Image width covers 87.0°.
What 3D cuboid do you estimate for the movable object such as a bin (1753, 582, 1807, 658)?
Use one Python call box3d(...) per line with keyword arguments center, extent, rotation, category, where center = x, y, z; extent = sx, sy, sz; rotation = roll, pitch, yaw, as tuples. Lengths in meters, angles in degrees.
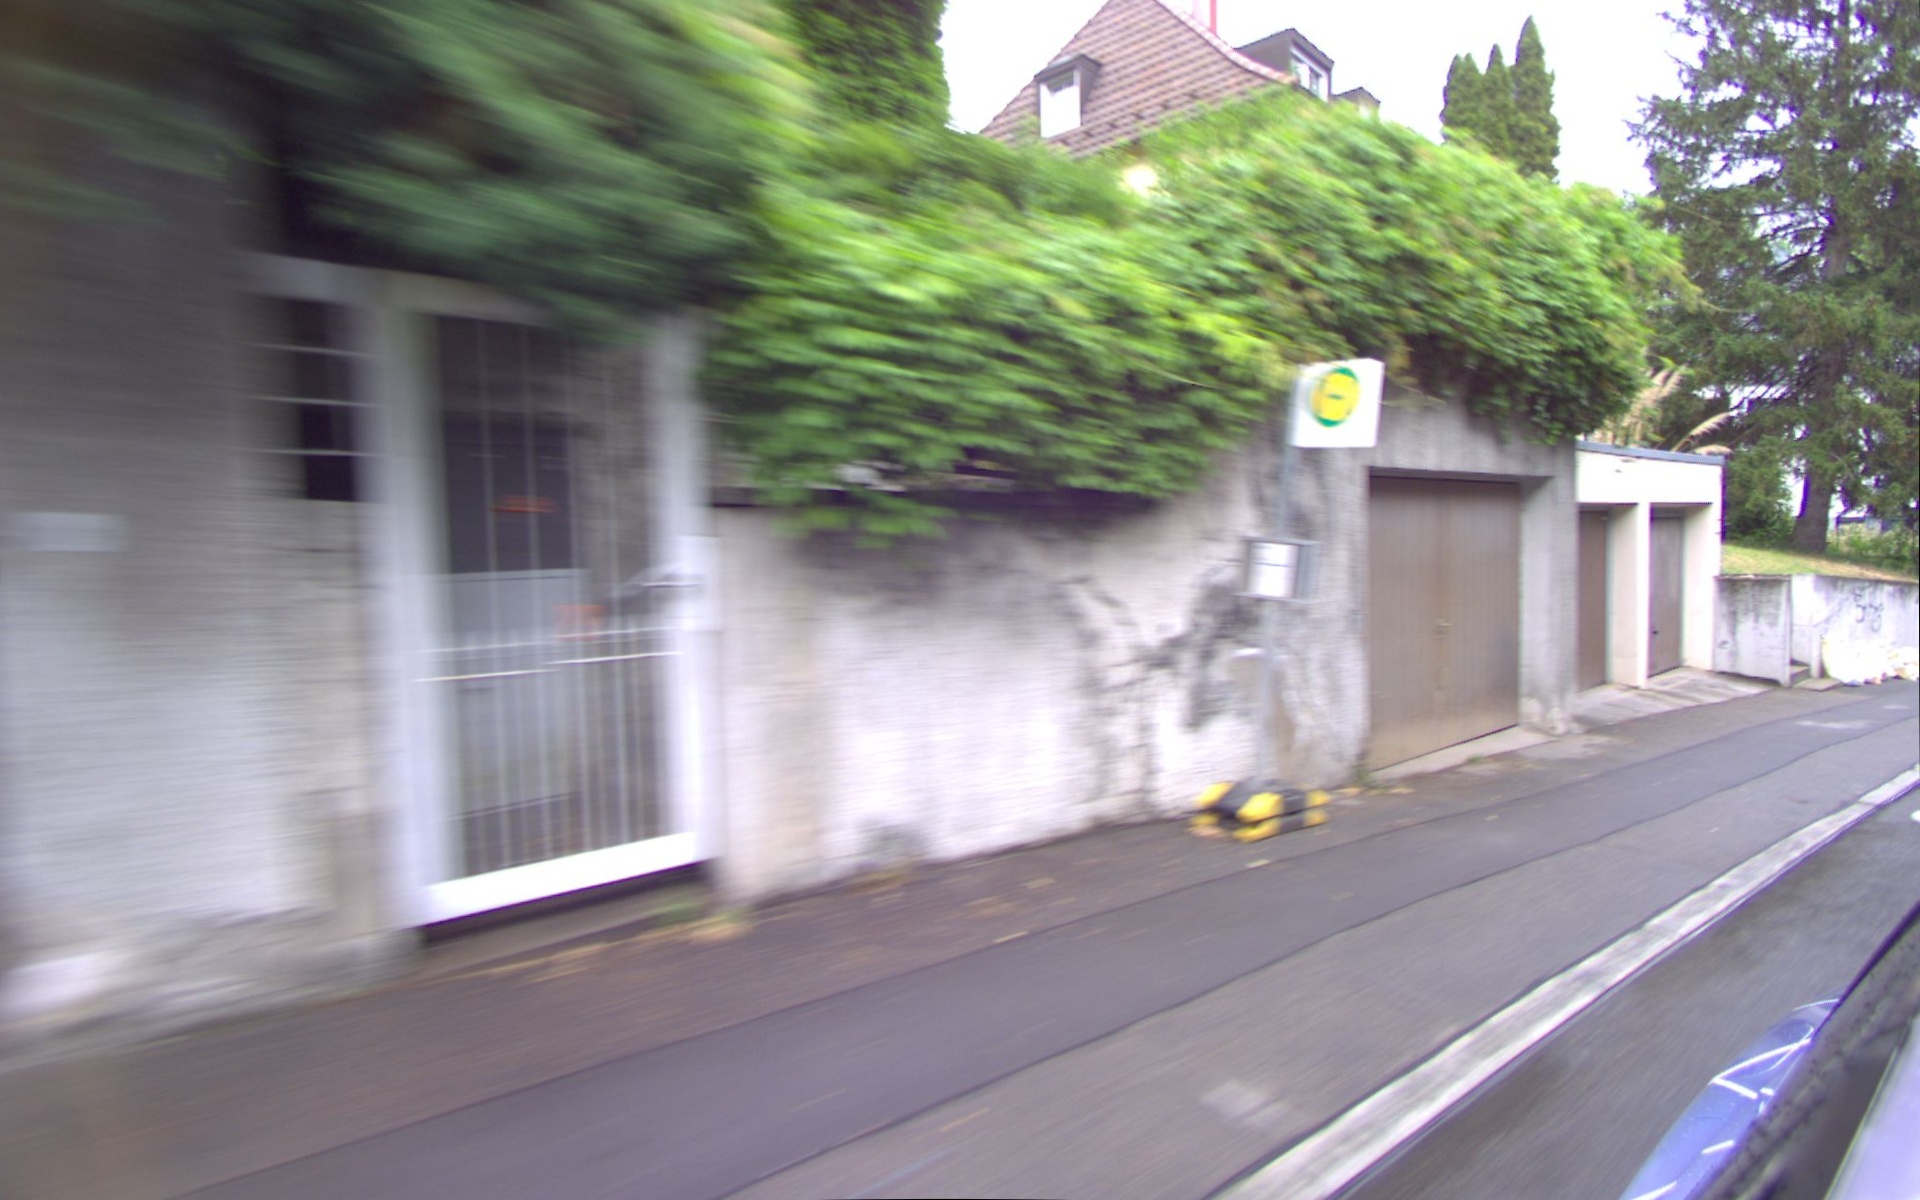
box3d(center=(12.362, 0.289, 15.259), extent=(0.484, 1.105, 0.483), rotation=(1, 3, -37), category="movable object such as a bin")
